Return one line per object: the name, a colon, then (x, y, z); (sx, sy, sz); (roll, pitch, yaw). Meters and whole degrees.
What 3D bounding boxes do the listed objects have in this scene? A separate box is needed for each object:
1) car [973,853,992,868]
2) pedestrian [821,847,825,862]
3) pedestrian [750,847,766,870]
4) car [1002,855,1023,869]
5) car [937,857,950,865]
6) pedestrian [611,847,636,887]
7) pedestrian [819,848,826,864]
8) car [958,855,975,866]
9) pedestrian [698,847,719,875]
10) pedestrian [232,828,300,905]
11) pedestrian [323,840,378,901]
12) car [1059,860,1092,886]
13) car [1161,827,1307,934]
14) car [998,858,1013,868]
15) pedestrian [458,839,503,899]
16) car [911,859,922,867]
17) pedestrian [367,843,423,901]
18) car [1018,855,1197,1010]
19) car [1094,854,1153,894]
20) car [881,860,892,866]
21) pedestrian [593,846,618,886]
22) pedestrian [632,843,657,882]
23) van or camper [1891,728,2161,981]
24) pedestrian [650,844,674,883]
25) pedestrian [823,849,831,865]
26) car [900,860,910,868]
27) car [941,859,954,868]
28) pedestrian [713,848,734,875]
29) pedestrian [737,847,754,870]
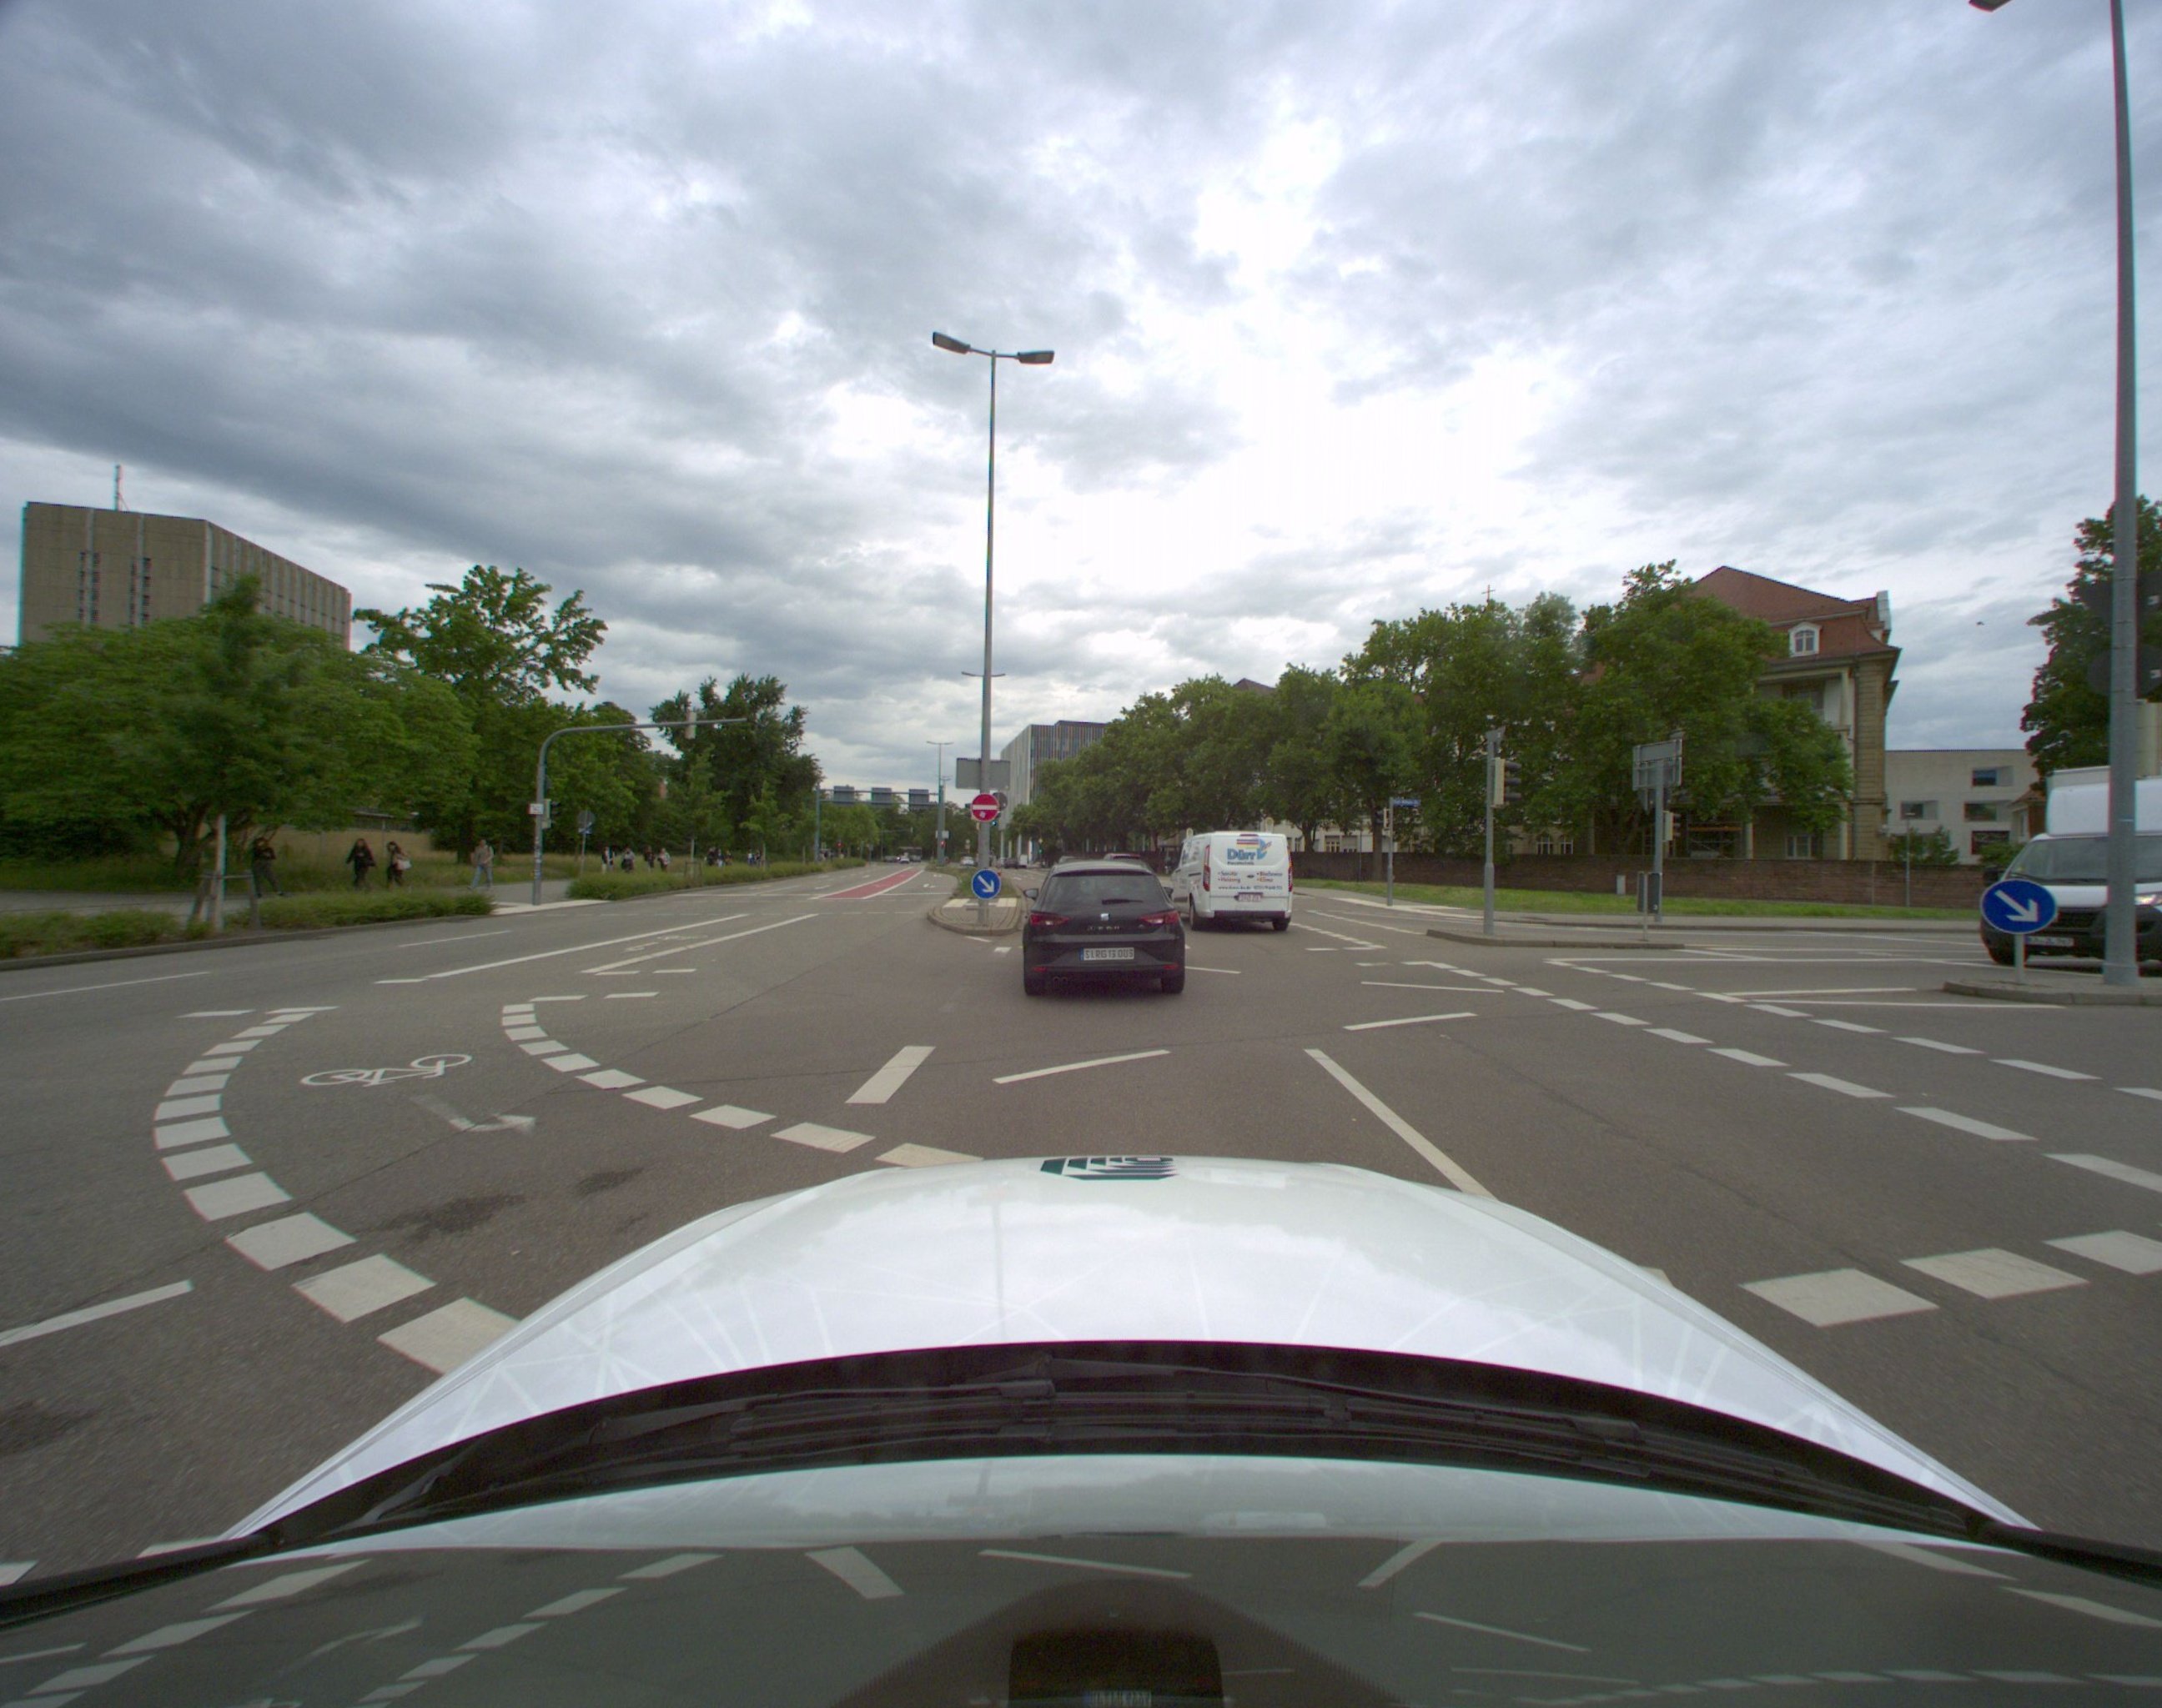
car: (-13.658, 0.845, 112.530); (1.998, 2.014, 3.978); (1, 0, -16)
pedestrian: (-36.430, 0.113, 115.016); (0.470, 2.156, 0.475); (1, -1, -4)
pedestrian: (-24.979, 0.329, 63.046); (0.918, 1.779, 1.061); (1, 0, -8)
car: (-8.844, 1.026, 104.283); (1.922, 1.684, 3.977); (1, 0, -17)
car: (-23.092, 1.226, 137.086); (1.716, 1.265, 3.319); (1, 0, -18)
pedestrian: (-21.538, 0.599, 38.358); (0.712, 1.870, 0.757); (1, 0, -2)
pedestrian: (-34.153, 0.259, 107.507); (0.666, 2.014, 0.595); (1, -1, -3)
car: (-18.465, 1.074, 131.020); (1.999, 1.640, 3.976); (1, 0, -18)
pedestrian: (-24.066, 0.459, 52.625); (0.918, 1.779, 1.061); (1, 0, -8)
pedestrian: (-21.983, 0.335, 21.985); (0.752, 2.014, 1.047); (1, 0, 0)
pedestrian: (-21.366, 0.474, 23.843); (0.752, 1.765, 0.906); (1, 0, 0)
car: (-0.374, 1.182, 52.554); (1.988, 1.566, 4.202); (1, 0, -2)
car: (3.163, 0.500, 17.956); (1.989, 2.019, 5.025); (1, 0, -4)
car: (-10.730, 1.229, 115.845); (1.529, 1.365, 2.951); (1, 0, -18)
pedestrian: (-20.674, 0.497, 28.054); (0.752, 2.014, 1.047); (1, 0, 0)
car: (-36.911, 1.928, 182.887); (2.000, 1.780, 3.974); (1, 0, -20)
pedestrian: (-20.530, 0.530, 24.389); (0.752, 1.712, 1.047); (1, 0, 0)
car: (0.205, 0.838, 10.115); (1.741, 1.464, 3.996); (-2, -2, -2)
car: (1.745, 0.797, 34.830); (1.856, 1.600, 4.195); (1, 0, -7)
car: (-42.423, 1.980, 177.707); (1.886, 1.416, 3.827); (1, 0, -22)
pedestrian: (-22.313, 0.569, 38.231); (0.712, 1.870, 0.756); (1, 0, -4)
pedestrian: (-23.134, 0.433, 43.201); (0.753, 2.014, 1.045); (1, 0, -4)
van or camper: (17.277, 0.067, 12.951); (7.136, 3.332, 2.864); (1, -1, -13)
pedestrian: (-22.362, 0.502, 43.471); (0.753, 2.014, 1.045); (1, 0, -4)
pedestrian: (-32.273, 0.355, 103.417); (0.720, 2.014, 0.781); (1, -1, -3)
car: (-32.855, 1.935, 151.929); (1.690, 1.416, 3.623); (1, 0, -16)
car: (-26.115, 1.805, 159.204); (1.998, 1.681, 3.989); (1, 0, -16)
pedestrian: (-23.159, 0.479, 52.756); (0.918, 1.779, 1.061); (1, 0, -8)
pedestrian: (-25.910, 0.323, 62.902); (0.918, 1.779, 1.061); (1, 0, -8)
